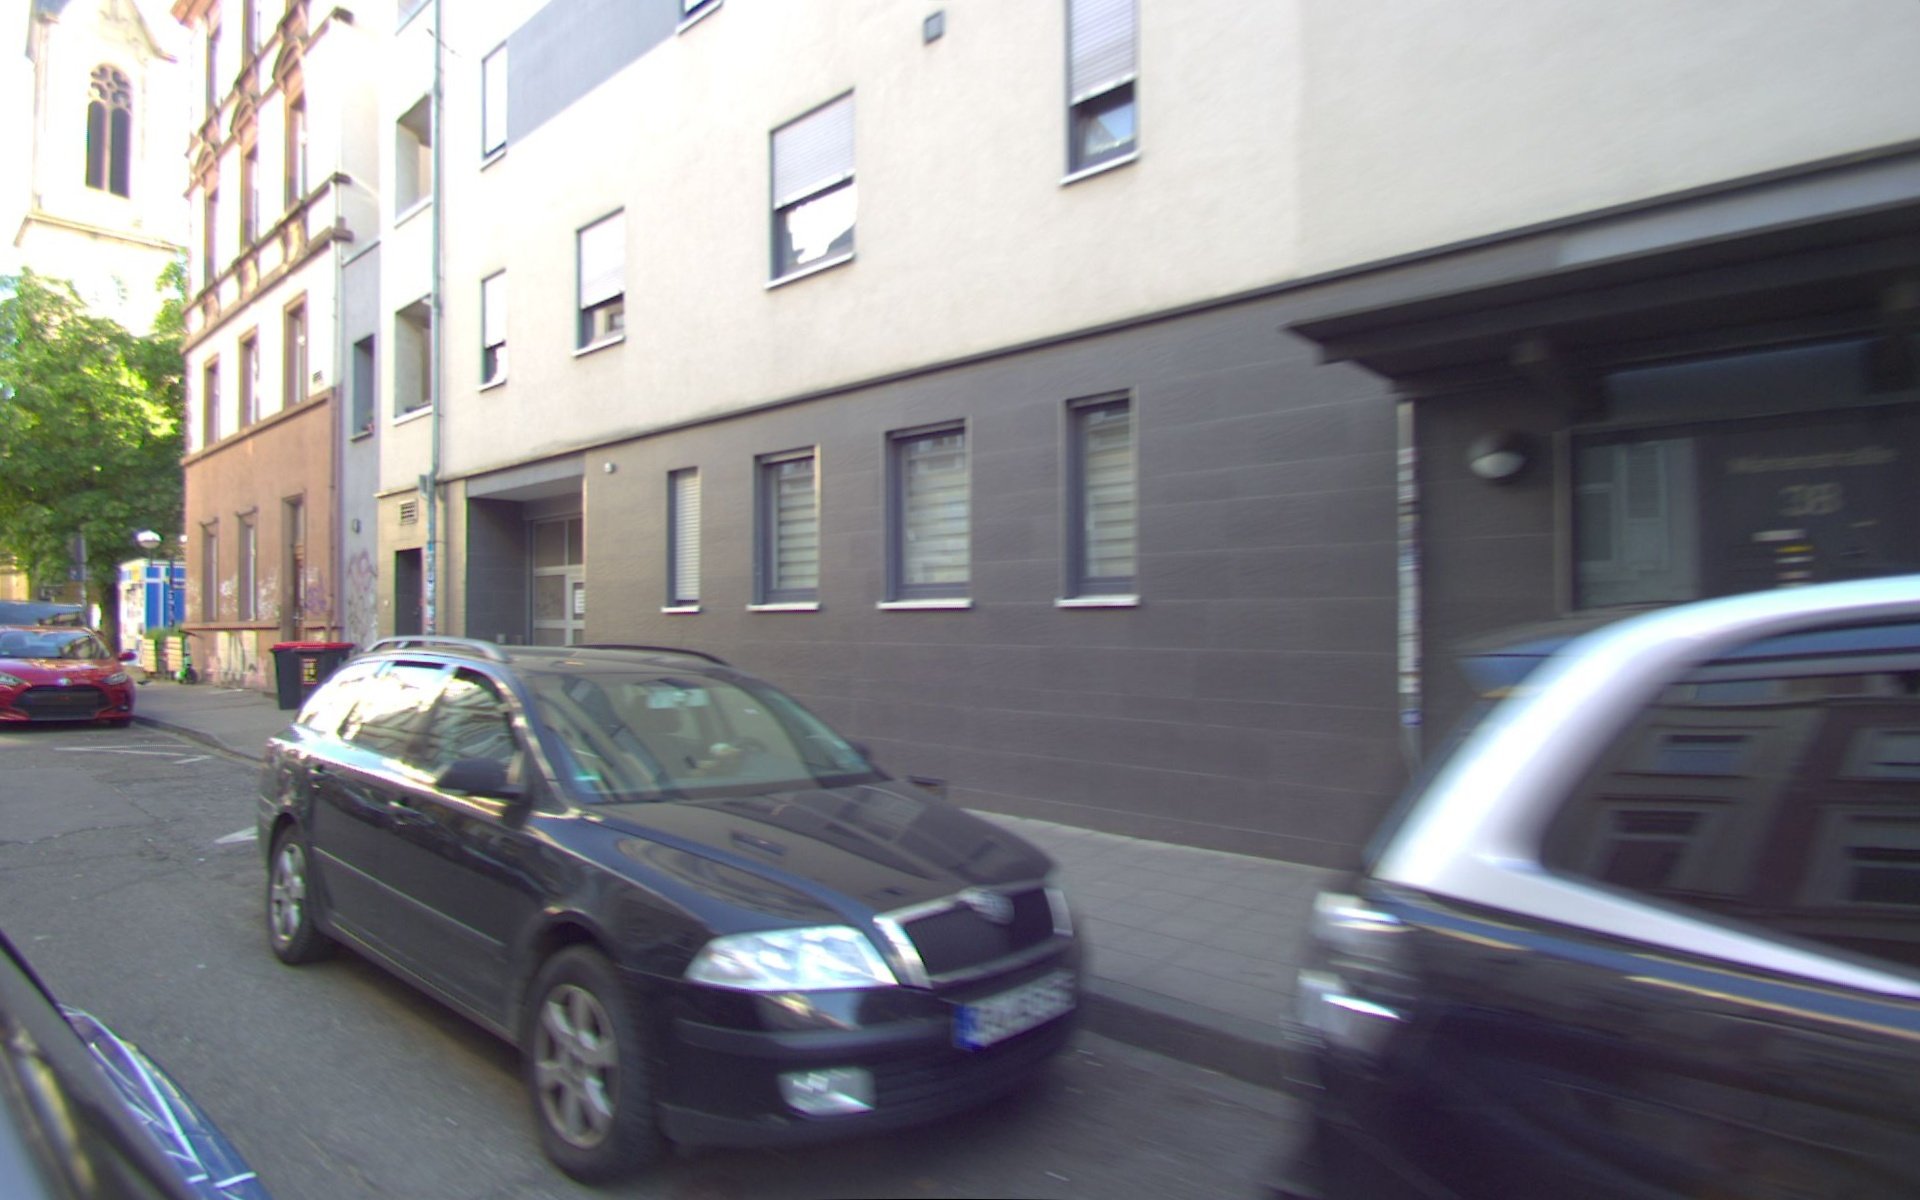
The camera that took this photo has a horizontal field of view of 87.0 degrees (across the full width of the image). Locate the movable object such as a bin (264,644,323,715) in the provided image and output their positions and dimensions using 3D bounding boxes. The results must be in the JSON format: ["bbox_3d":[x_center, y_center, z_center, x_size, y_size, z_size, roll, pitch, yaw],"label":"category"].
[{"bbox_3d":[-10.775,1.274,16.381,0.748,1.075,0.653,0,0,-29],"label":"movable object such as a bin"}]

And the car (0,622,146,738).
[{"bbox_3d":[-13.731,1.119,15.129,3.868,1.533,1.732,-1,-4,42],"label":"car"}]

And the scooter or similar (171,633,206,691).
[{"bbox_3d":[-17.036,1.349,22.330,1.391,1.225,0.344,-1,-1,41],"label":"scooter or similar"}]

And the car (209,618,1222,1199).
[{"bbox_3d":[-1.389,0.907,4.132,4.496,1.490,1.699,-2,-5,41],"label":"car"}]

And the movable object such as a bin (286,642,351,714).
[{"bbox_3d":[-10.048,1.209,15.870,0.501,1.075,0.728,-1,0,10],"label":"movable object such as a bin"}]

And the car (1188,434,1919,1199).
[{"bbox_3d":[2.493,0.671,0.789,4.243,1.663,1.699,-2,-5,41],"label":"car"}]

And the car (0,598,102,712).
[{"bbox_3d":[-17.660,0.980,18.817,5.296,1.893,1.998,-2,-1,43],"label":"car"}]

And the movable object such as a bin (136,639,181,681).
[{"bbox_3d":[-22.138,1.658,27.956,0.774,1.094,0.860,-1,0,42],"label":"movable object such as a bin"}]
